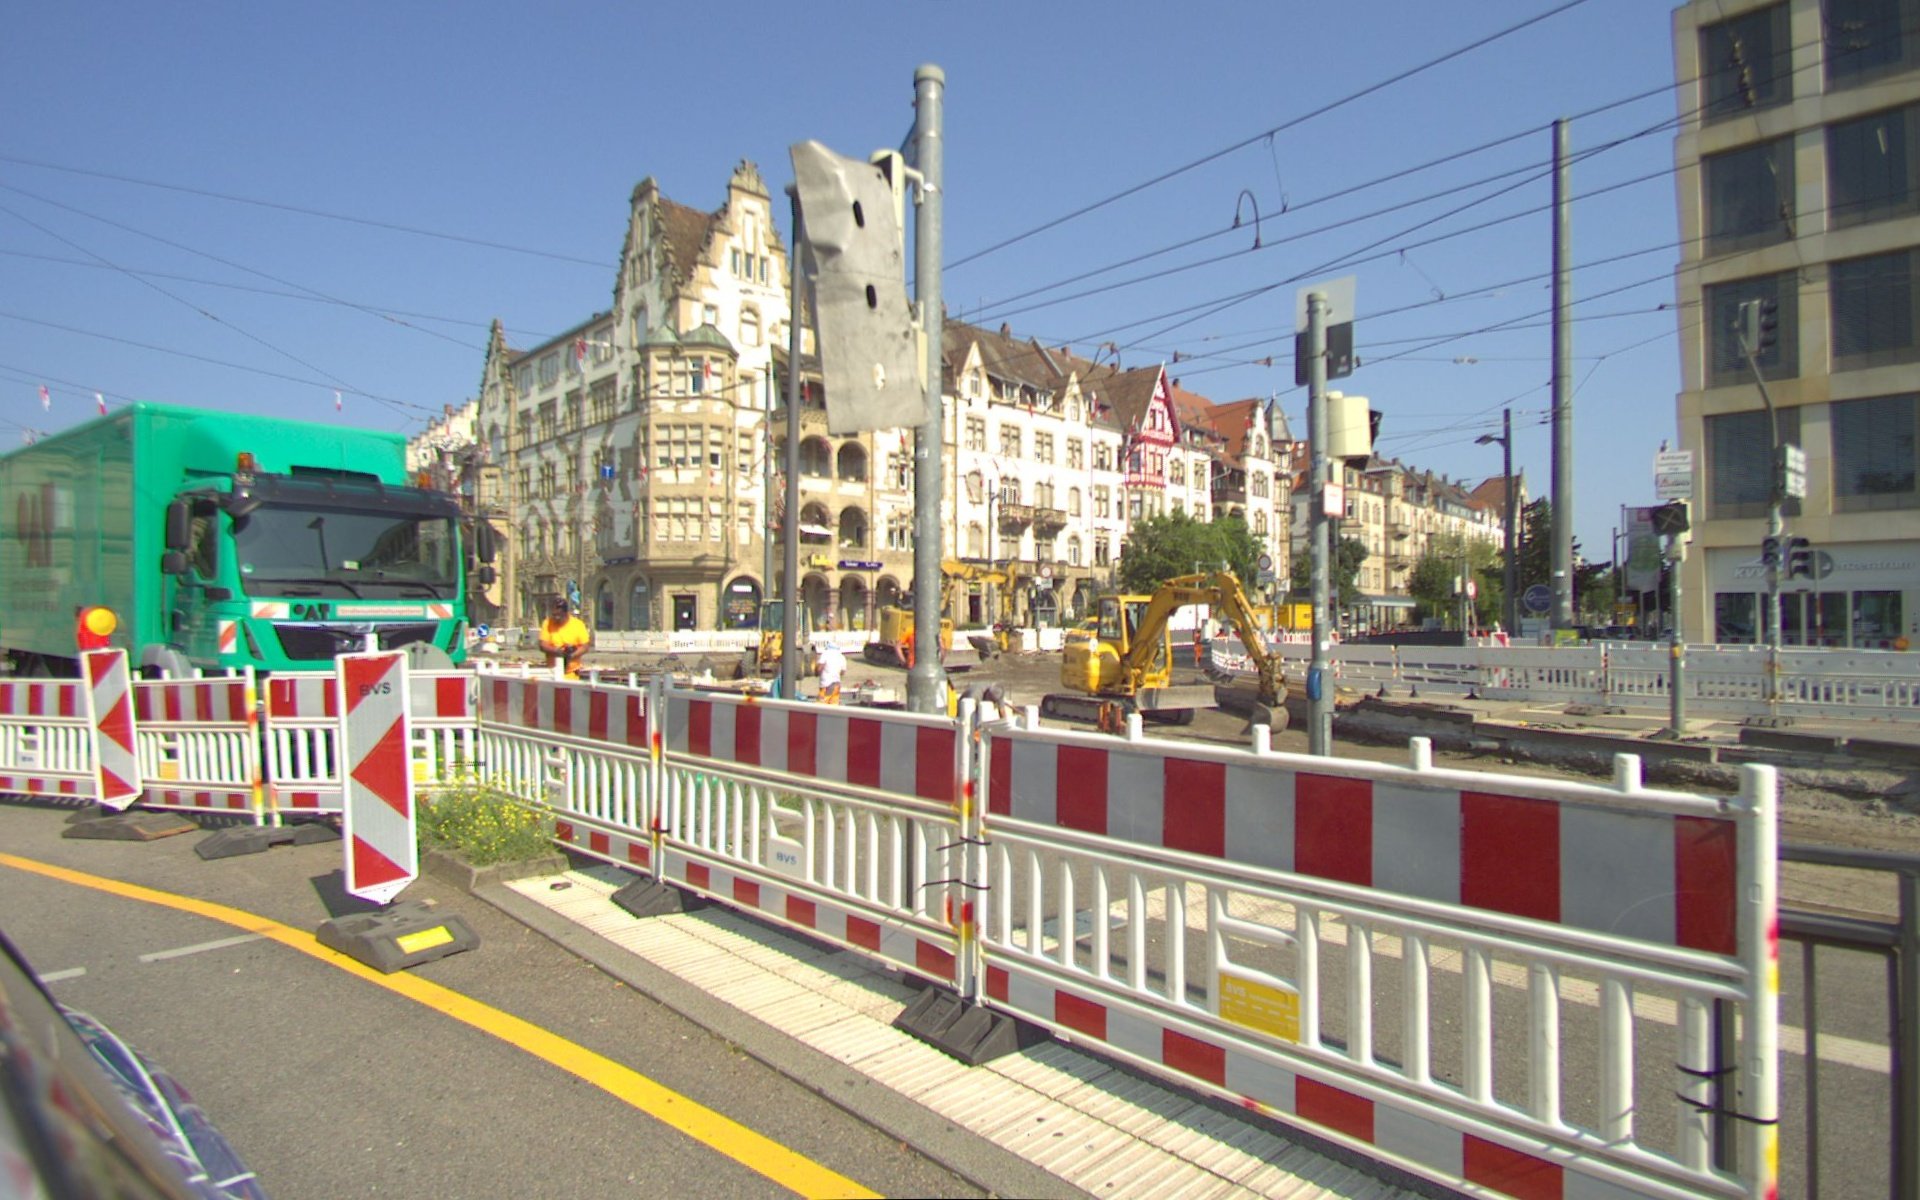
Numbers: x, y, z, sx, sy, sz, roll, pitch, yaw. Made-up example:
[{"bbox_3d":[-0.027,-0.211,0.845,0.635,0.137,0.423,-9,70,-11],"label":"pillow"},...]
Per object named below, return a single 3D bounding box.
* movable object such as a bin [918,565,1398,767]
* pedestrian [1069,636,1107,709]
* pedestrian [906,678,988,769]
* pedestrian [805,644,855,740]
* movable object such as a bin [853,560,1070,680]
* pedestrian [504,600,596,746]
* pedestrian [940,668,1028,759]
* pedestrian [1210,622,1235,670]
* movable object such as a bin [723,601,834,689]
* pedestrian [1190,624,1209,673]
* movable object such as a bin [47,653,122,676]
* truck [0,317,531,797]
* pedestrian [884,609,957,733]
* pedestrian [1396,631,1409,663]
[{"bbox_3d":[3.344,0.991,19.297,3.571,2.980,8.484,0,0,-44],"label":"movable object such as a bin"},{"bbox_3d":[3.146,1.763,24.859,0.826,1.762,0.665,-1,-2,16],"label":"pedestrian"},{"bbox_3d":[-0.150,1.337,11.052,0.808,0.933,0.513,0,-2,-11],"label":"pedestrian"},{"bbox_3d":[-2.218,1.548,17.258,0.690,1.578,0.558,1,-3,-26],"label":"pedestrian"},{"bbox_3d":[0.038,0.819,40.983,7.255,4.380,4.984,1,-1,-31],"label":"movable object such as a bin"},{"bbox_3d":[-4.668,0.812,11.522,0.751,1.578,0.692,2,-3,-44],"label":"pedestrian"},{"bbox_3d":[0.273,1.318,11.972,0.934,0.996,0.505,-2,-3,41],"label":"pedestrian"},{"bbox_3d":[11.196,1.954,43.237,0.658,2.029,0.831,0,-2,-21],"label":"pedestrian"},{"bbox_3d":[-6.242,1.535,35.489,2.421,2.856,4.803,0,-2,9],"label":"movable object such as a bin"},{"bbox_3d":[10.316,2.077,43.539,0.665,2.080,0.893,-1,-2,22],"label":"pedestrian"},{"bbox_3d":[-28.427,2.098,32.892,1.695,0.719,0.719,1,-2,-10],"label":"movable object such as a bin"},{"bbox_3d":[-8.759,-0.237,11.825,8.396,3.942,2.769,-2,-1,34],"label":"truck"},{"bbox_3d":[-0.516,0.927,13.384,0.812,1.578,0.553,-1,-3,21],"label":"pedestrian"},{"bbox_3d":[28.075,2.982,64.193,0.636,2.029,0.671,-1,-2,36],"label":"pedestrian"}]
